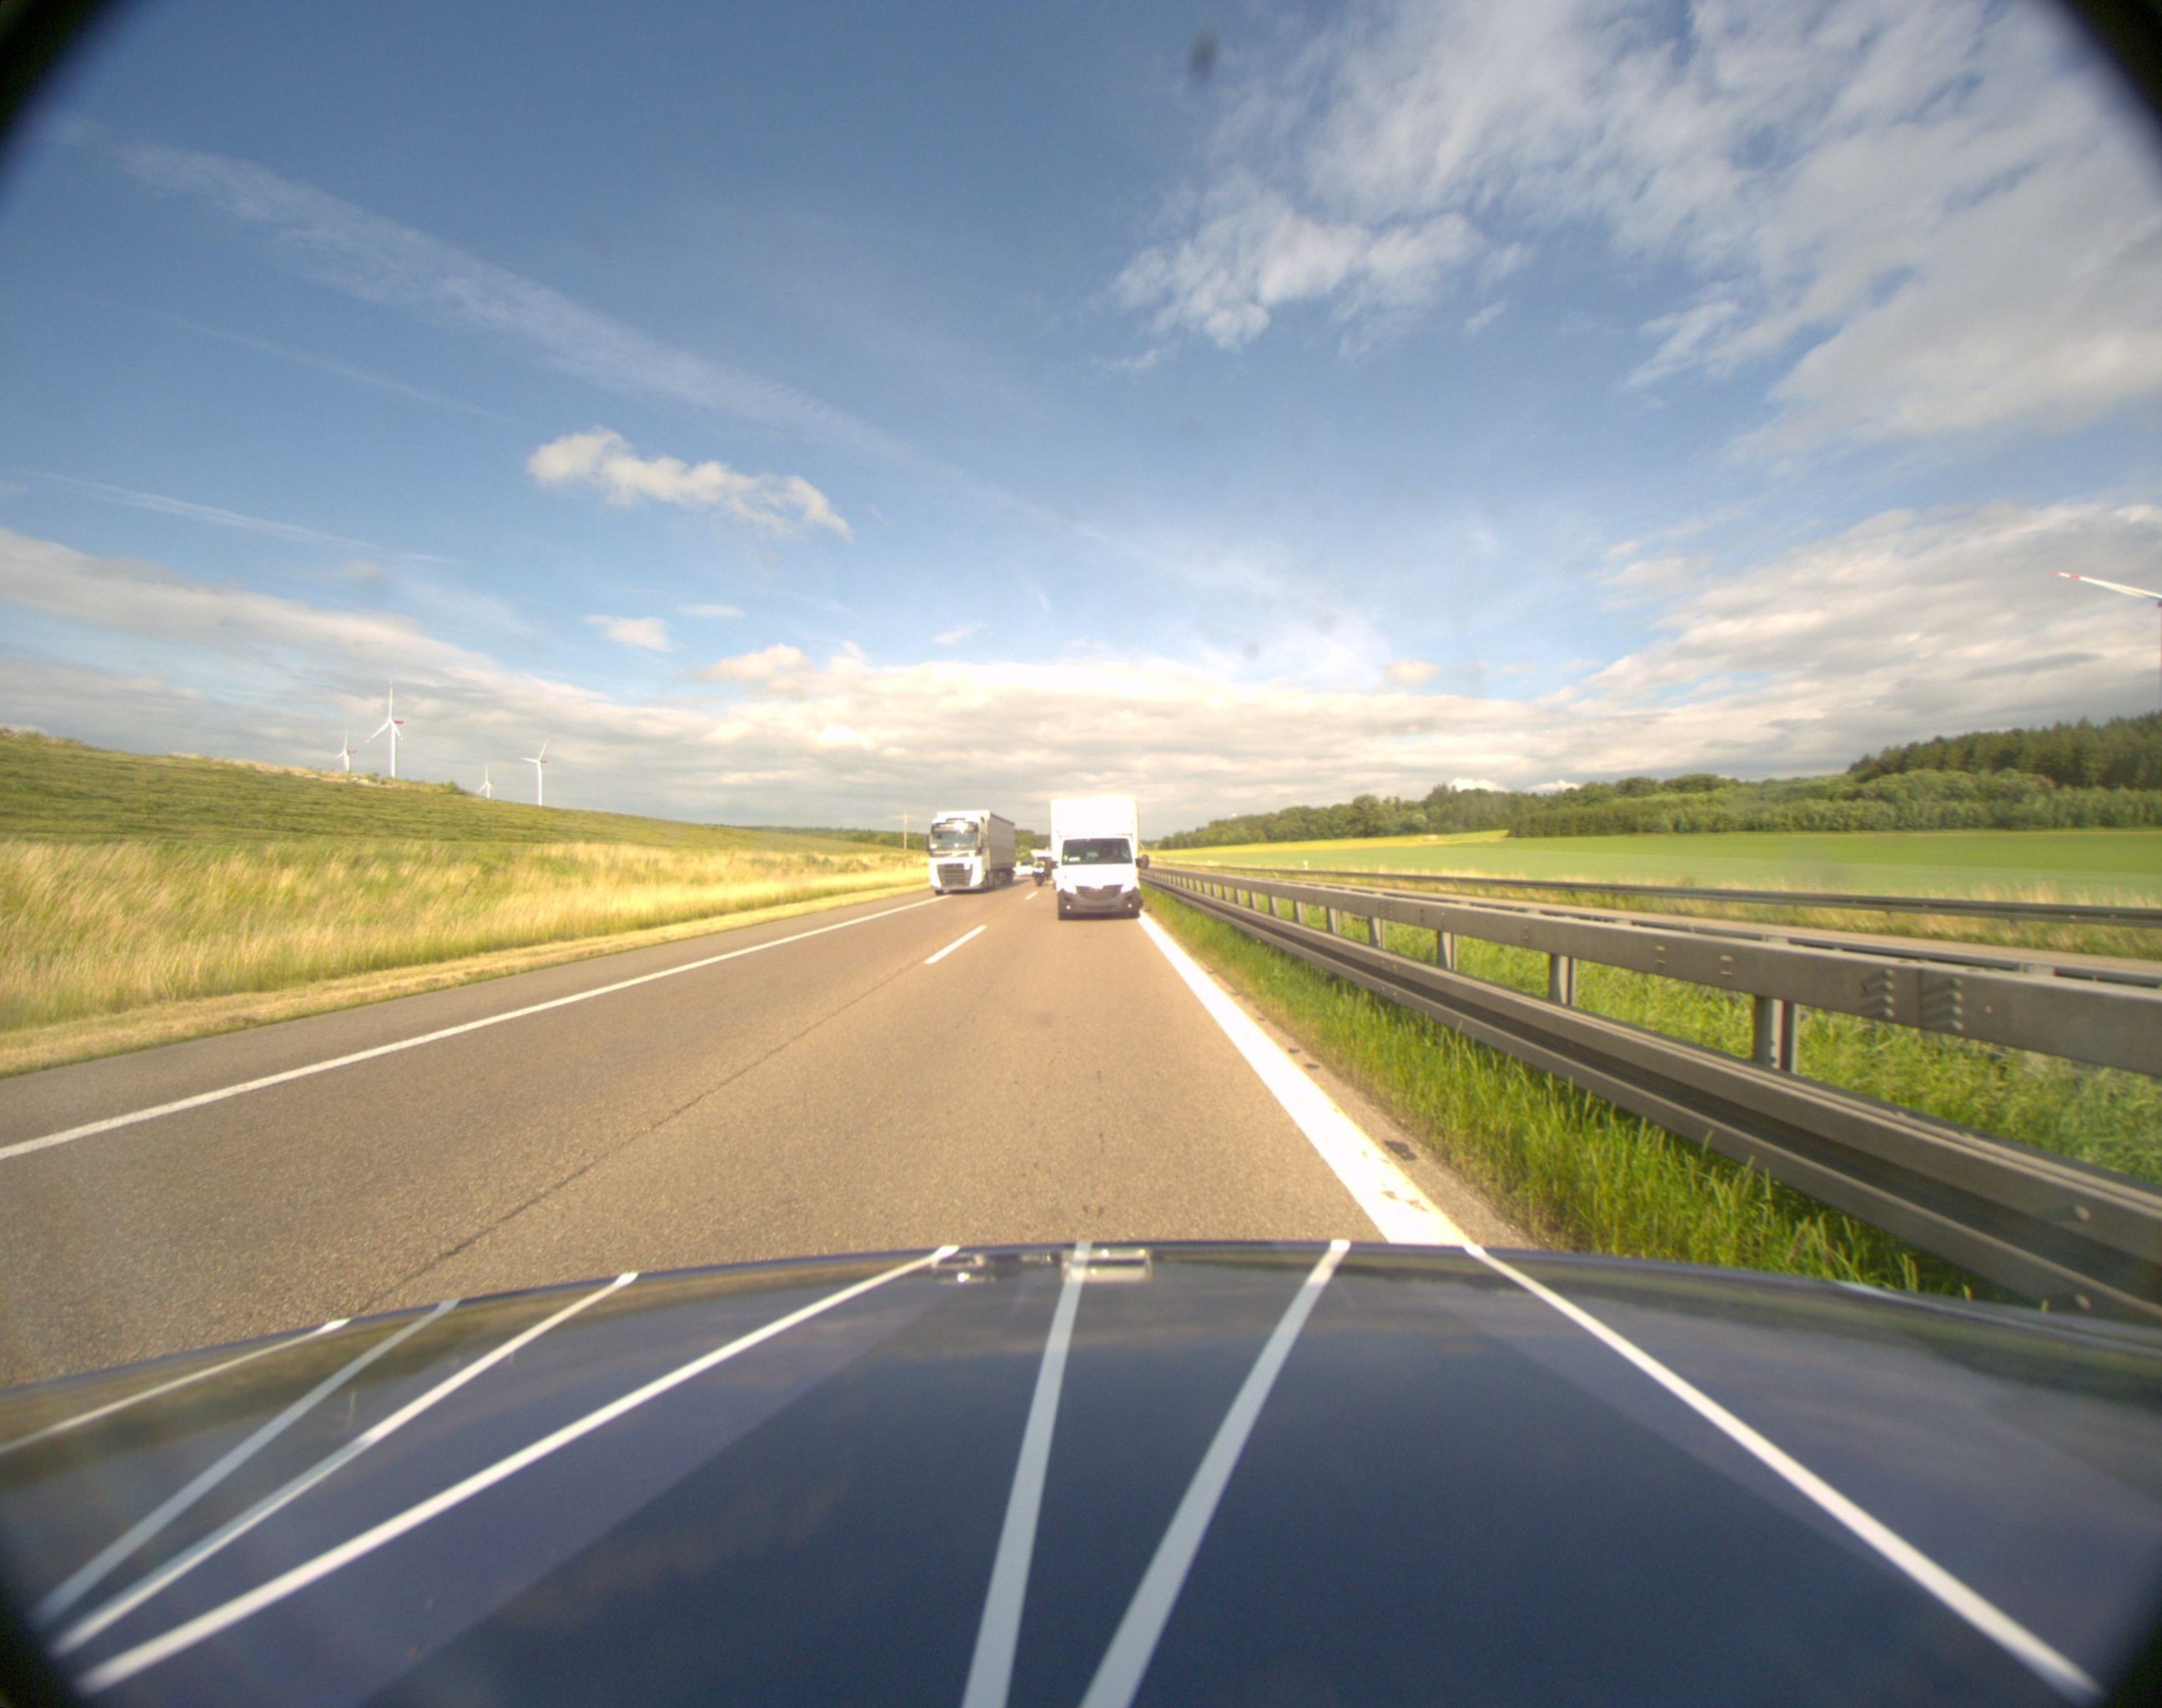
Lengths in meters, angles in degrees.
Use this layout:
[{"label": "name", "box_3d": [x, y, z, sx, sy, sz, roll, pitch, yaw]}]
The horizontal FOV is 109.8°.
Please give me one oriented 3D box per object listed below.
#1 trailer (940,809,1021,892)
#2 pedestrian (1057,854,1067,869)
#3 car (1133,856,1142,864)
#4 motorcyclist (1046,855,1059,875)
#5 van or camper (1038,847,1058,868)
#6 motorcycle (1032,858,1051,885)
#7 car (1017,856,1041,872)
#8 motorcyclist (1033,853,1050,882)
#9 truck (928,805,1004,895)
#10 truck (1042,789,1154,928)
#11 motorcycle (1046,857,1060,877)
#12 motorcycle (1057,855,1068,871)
[{"label": "trailer", "box_3d": [-5.498, -0.121, 44.241, 2.623, 4.016, 13.700, -2, 0, 1]}, {"label": "pedestrian", "box_3d": [-1.752, 0.706, 71.436, 0.898, 1.447, 0.983, -1, 1, 0]}, {"label": "car", "box_3d": [12.618, 1.286, 169.933, 1.739, 1.579, 4.117, -1, 1, 1]}, {"label": "motorcyclist", "box_3d": [-2.077, 0.798, 56.187, 0.898, 1.447, 0.892, -1, 1, 0]}, {"label": "van or camper", "box_3d": [-4.134, 0.439, 96.008, 2.102, 2.530, 6.412, -1, 1, 1]}, {"label": "motorcycle", "box_3d": [-2.214, 0.982, 42.962, 0.898, 1.447, 2.269, -1, 1, 0]}, {"label": "car", "box_3d": [-4.921, 0.947, 72.269, 1.871, 1.409, 4.461, -1, 1, 1]}, {"label": "motorcyclist", "box_3d": [-2.227, 0.760, 43.013, 0.898, 1.608, 1.022, -1, 1, 0]}, {"label": "truck", "box_3d": [-5.555, -0.175, 37.682, 2.607, 4.017, 6.120, -2, 0, 1]}, {"label": "truck", "box_3d": [0.374, 0.141, 23.065, 2.502, 3.140, 11.163, -1, 0, 0]}, {"label": "motorcycle", "box_3d": [-2.080, 0.941, 56.175, 0.898, 1.447, 1.982, -1, 1, 0]}, {"label": "motorcycle", "box_3d": [-1.757, 0.803, 71.480, 0.898, 1.447, 2.269, -1, 1, 0]}]
